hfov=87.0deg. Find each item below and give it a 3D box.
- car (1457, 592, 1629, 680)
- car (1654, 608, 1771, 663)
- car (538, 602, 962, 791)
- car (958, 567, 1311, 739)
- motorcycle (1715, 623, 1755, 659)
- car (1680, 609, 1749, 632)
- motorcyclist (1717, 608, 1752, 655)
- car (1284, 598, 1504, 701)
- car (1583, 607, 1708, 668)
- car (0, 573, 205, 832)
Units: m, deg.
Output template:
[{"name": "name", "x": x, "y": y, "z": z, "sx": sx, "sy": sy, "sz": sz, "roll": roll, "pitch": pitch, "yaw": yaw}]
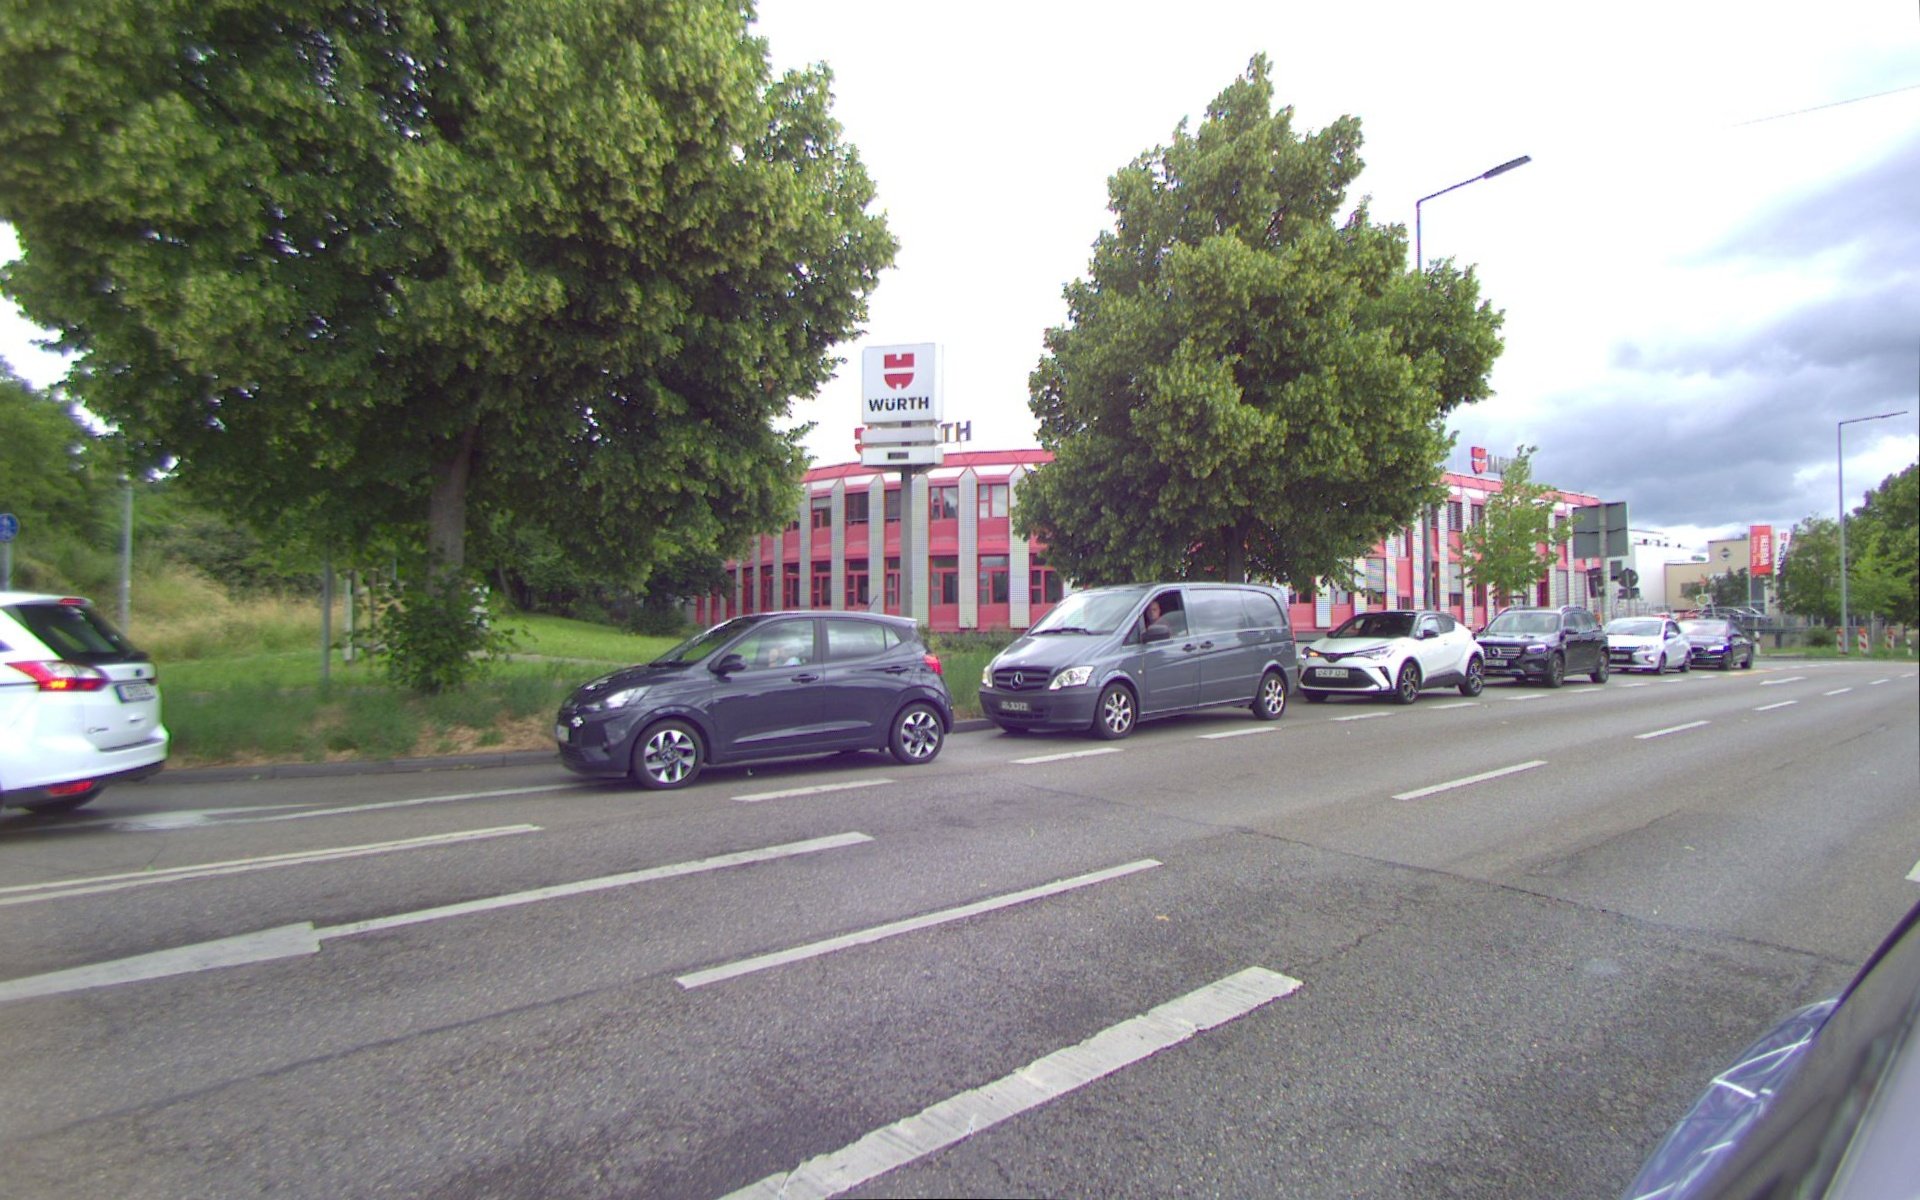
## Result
[{"name": "car", "x": 12.479, "y": 0.756, "z": 21.558, "sx": 4.346, "sy": 1.671, "sz": 1.784, "roll": 3, "pitch": -1, "yaw": -40}, {"name": "car", "x": 22.216, "y": 1.055, "z": 29.806, "sx": 4.446, "sy": 1.464, "sz": 1.784, "roll": 3, "pitch": -1, "yaw": -40}, {"name": "car", "x": -1.915, "y": 0.783, "z": 9.484, "sx": 3.545, "sy": 1.449, "sz": 1.625, "roll": 0, "pitch": -3, "yaw": -33}, {"name": "car", "x": 2.385, "y": 0.618, "z": 13.140, "sx": 4.636, "sy": 1.858, "sz": 1.919, "roll": 0, "pitch": -3, "yaw": -39}, {"name": "motorcycle", "x": 25.164, "y": 1.323, "z": 32.859, "sx": 1.911, "sy": 1.162, "sz": 0.748, "roll": 2, "pitch": -3, "yaw": -45}, {"name": "car", "x": 61.811, "y": 1.683, "z": 82.948, "sx": 1.752, "sy": 1.776, "sz": 4.247, "roll": 0, "pitch": 0, "yaw": -39}, {"name": "motorcyclist", "x": 25.144, "y": 1.022, "z": 32.855, "sx": 0.918, "sy": 1.510, "sz": 0.748, "roll": 2, "pitch": -3, "yaw": -45}, {"name": "car", "x": 7.539, "y": 0.794, "z": 17.393, "sx": 4.230, "sy": 1.555, "sz": 1.783, "roll": 0, "pitch": -3, "yaw": -41}, {"name": "car", "x": 18.188, "y": 0.993, "z": 26.807, "sx": 3.766, "sy": 1.461, "sz": 1.784, "roll": 3, "pitch": -1, "yaw": -40}, {"name": "car", "x": -7.873, "y": 0.701, "z": 6.612, "sx": 4.365, "sy": 1.616, "sz": 1.786, "roll": -1, "pitch": -3, "yaw": -20}]
